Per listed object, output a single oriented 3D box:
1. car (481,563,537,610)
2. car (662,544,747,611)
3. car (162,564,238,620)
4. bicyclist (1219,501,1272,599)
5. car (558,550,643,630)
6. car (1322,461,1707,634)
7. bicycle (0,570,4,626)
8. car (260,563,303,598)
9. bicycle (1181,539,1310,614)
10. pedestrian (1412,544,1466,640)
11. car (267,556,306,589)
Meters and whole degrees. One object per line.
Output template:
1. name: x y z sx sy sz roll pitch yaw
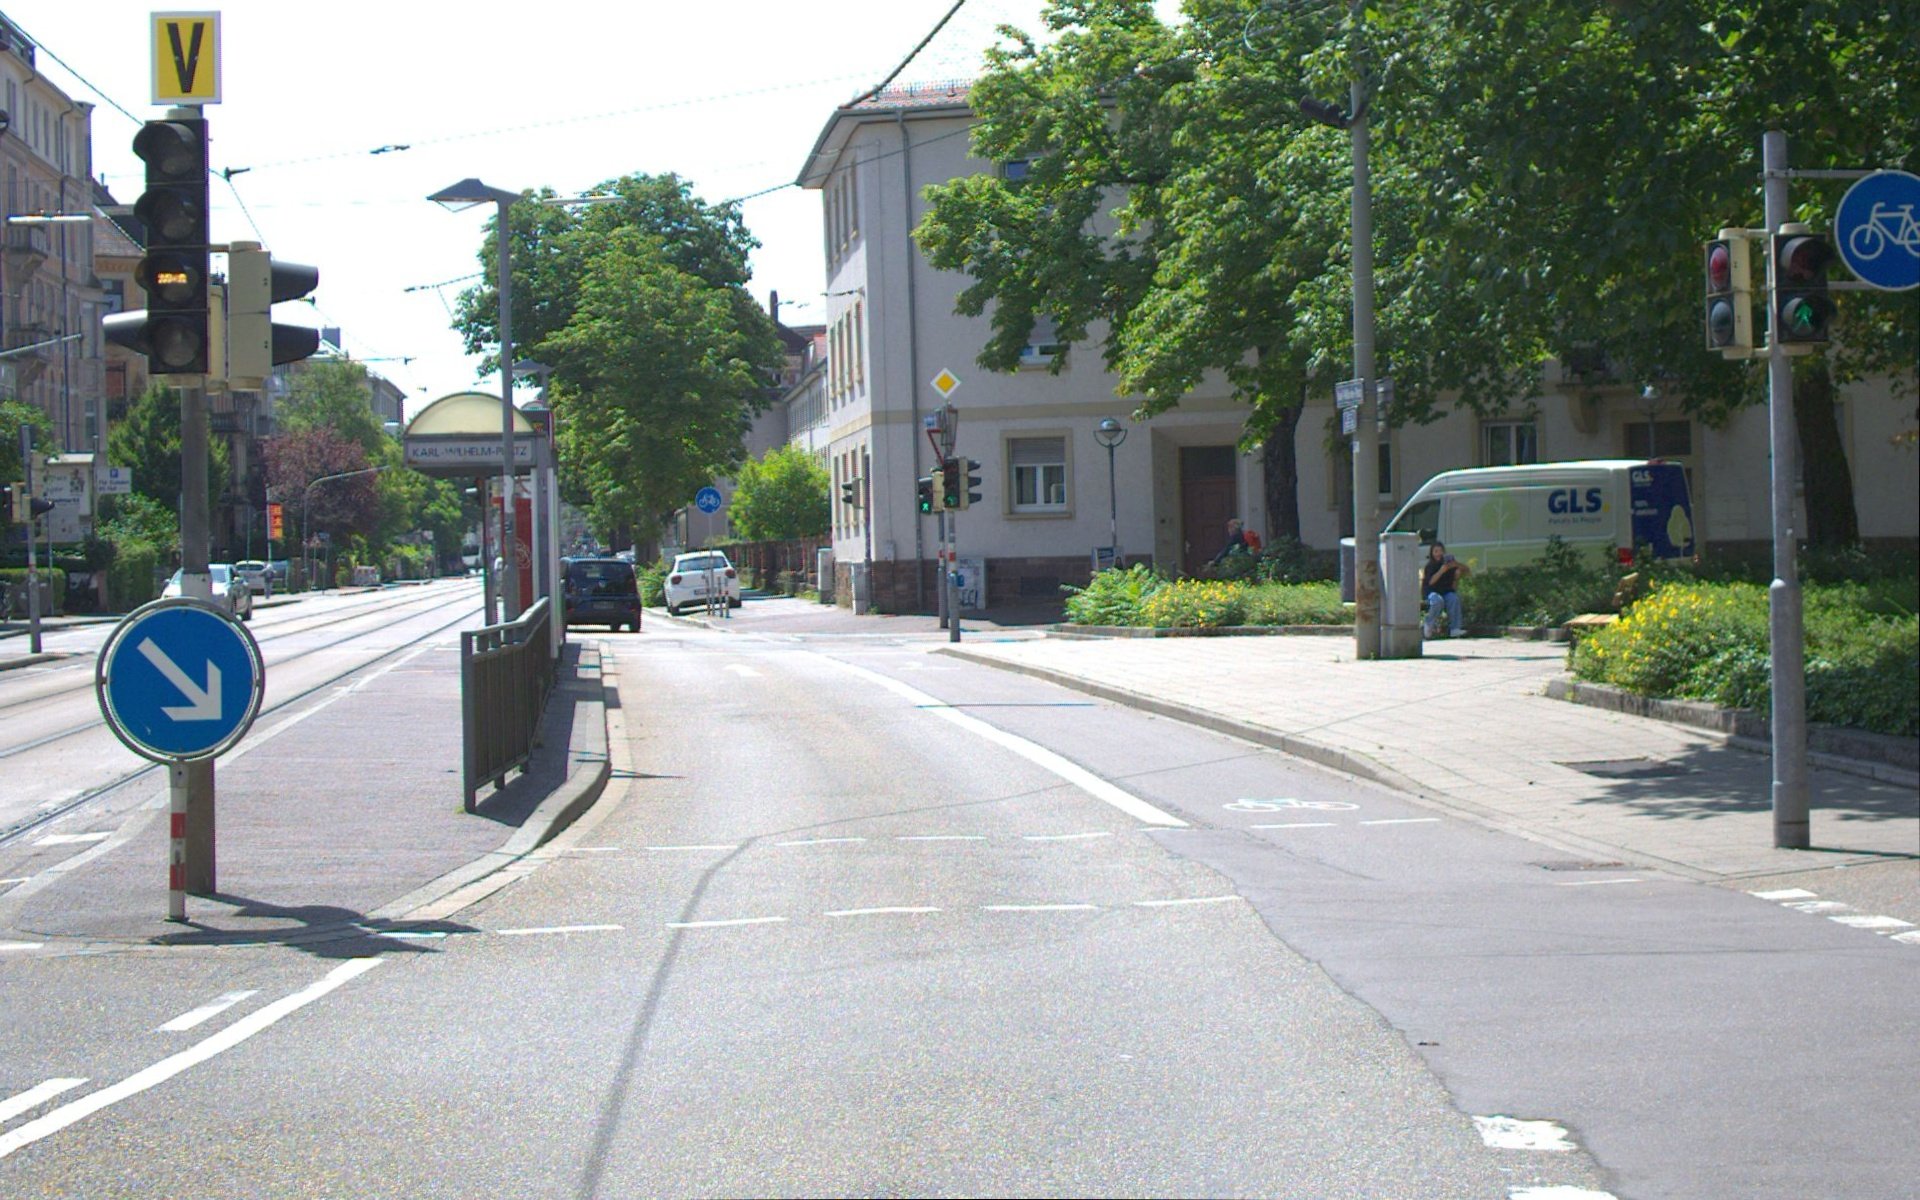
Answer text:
1. car: -14.992 -0.462 114.181 1.524 1.451 3.366 -3 1 -11
2. car: -6.256 -0.564 83.893 1.747 1.467 3.939 -5 1 -7
3. car: -18.897 -0.214 85.602 1.540 1.334 3.720 -1 1 -8
4. bicyclist: 4.817 -0.837 57.981 0.694 1.640 0.579 -1 1 27
5. car: -7.030 -0.207 67.176 1.524 1.439 3.365 -3 1 -6
6. car: 8.636 -0.793 54.016 5.846 2.581 1.995 0 1 44
7. bicycle: -23.949 -0.048 83.665 0.591 1.351 2.440 -1 1 -33
8. car: -31.597 -0.911 160.110 1.684 1.467 3.939 -5 1 -9
9. bicycle: 4.815 -0.396 57.995 2.084 1.232 0.580 -1 1 27
10. pedestrian: 5.629 -0.096 40.422 0.509 1.088 0.478 -3 2 0
11. car: -32.956 -1.349 168.219 1.628 1.467 3.565 -5 1 -9
